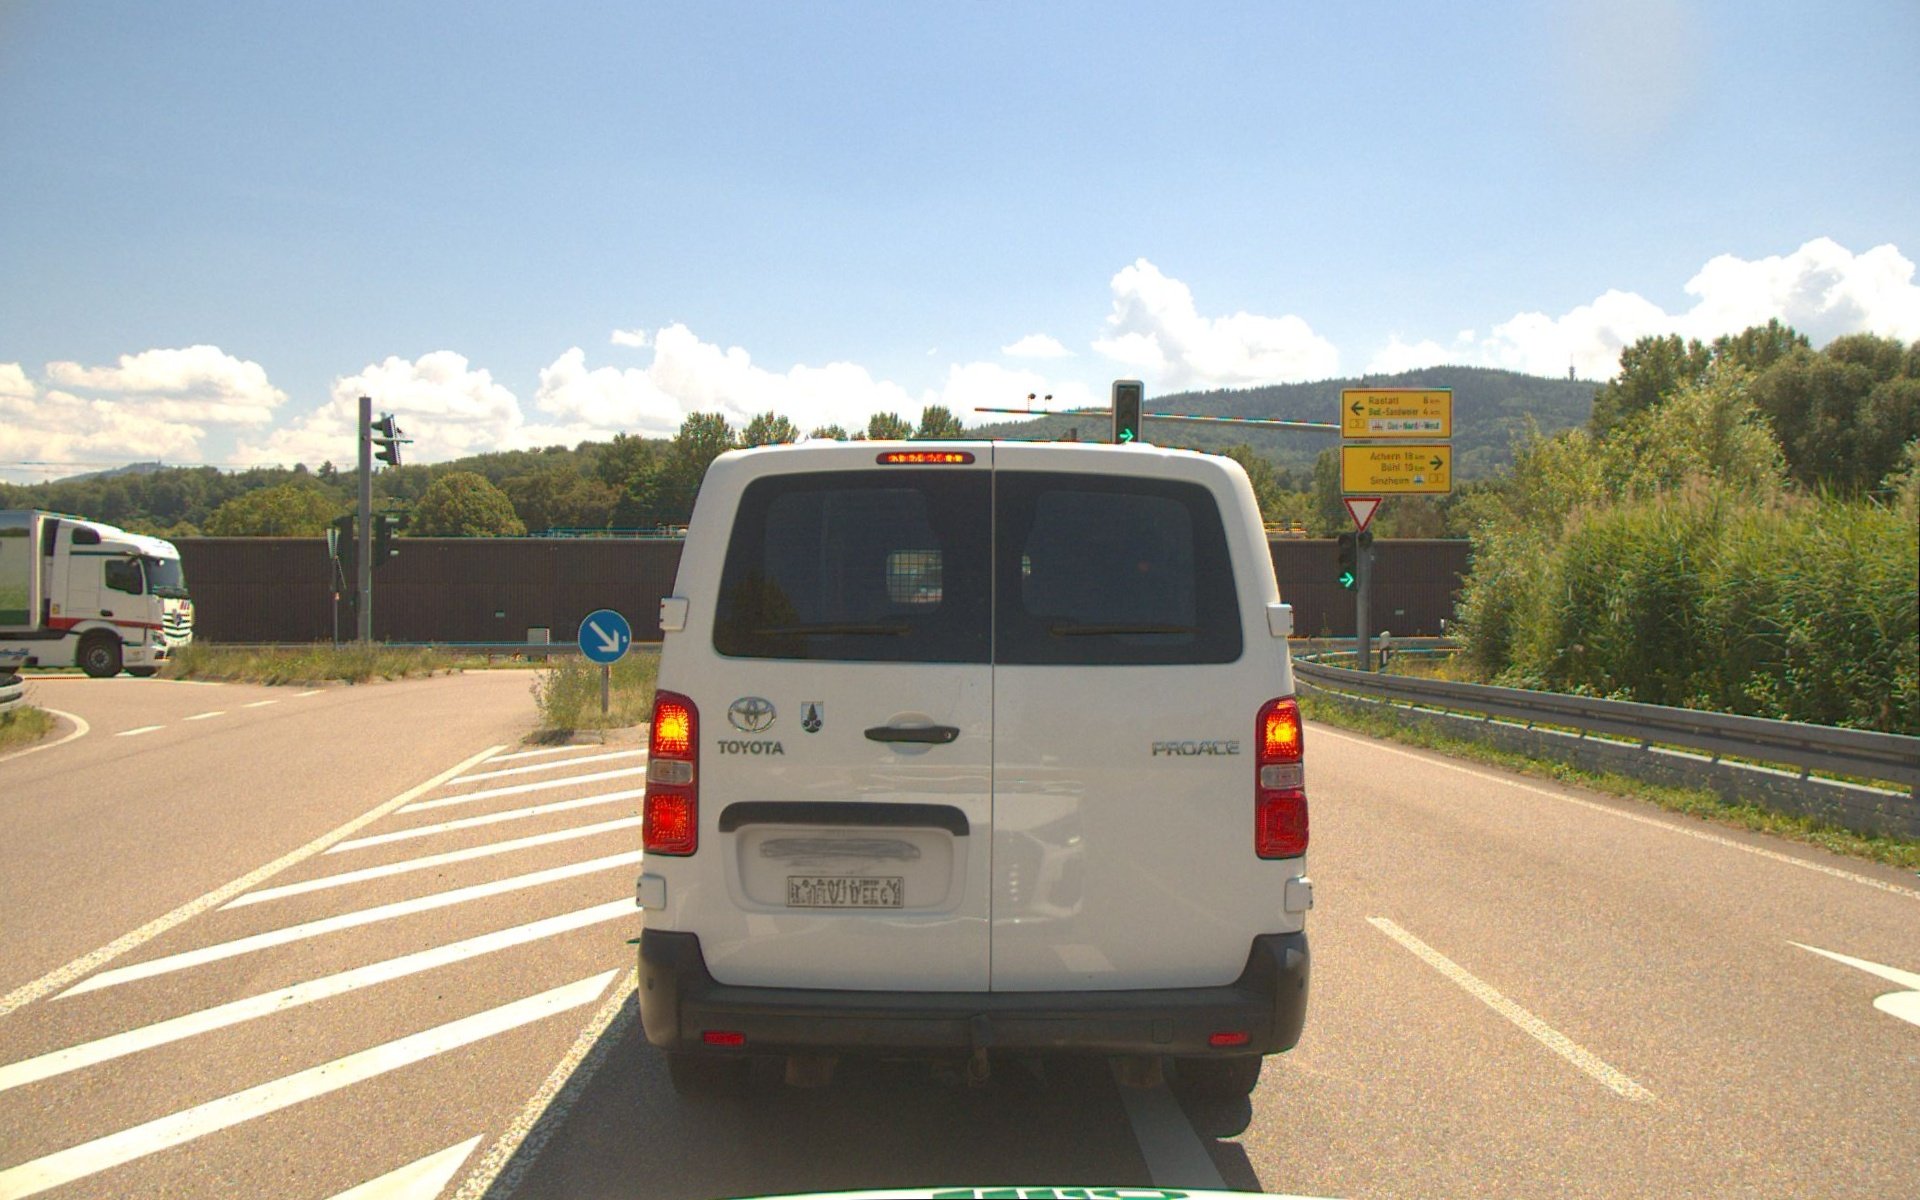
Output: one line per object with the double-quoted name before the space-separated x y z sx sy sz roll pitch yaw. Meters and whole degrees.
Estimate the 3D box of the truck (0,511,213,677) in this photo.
"truck" -22.402 -0.136 41.795 5.649 4.024 3.061 0 -1 -3

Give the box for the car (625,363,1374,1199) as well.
"car" 0.070 0.477 5.938 1.778 2.053 3.999 0 0 -1

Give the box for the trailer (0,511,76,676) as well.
"trailer" -29.530 -0.173 41.456 12.877 4.024 3.060 0 -1 -3
